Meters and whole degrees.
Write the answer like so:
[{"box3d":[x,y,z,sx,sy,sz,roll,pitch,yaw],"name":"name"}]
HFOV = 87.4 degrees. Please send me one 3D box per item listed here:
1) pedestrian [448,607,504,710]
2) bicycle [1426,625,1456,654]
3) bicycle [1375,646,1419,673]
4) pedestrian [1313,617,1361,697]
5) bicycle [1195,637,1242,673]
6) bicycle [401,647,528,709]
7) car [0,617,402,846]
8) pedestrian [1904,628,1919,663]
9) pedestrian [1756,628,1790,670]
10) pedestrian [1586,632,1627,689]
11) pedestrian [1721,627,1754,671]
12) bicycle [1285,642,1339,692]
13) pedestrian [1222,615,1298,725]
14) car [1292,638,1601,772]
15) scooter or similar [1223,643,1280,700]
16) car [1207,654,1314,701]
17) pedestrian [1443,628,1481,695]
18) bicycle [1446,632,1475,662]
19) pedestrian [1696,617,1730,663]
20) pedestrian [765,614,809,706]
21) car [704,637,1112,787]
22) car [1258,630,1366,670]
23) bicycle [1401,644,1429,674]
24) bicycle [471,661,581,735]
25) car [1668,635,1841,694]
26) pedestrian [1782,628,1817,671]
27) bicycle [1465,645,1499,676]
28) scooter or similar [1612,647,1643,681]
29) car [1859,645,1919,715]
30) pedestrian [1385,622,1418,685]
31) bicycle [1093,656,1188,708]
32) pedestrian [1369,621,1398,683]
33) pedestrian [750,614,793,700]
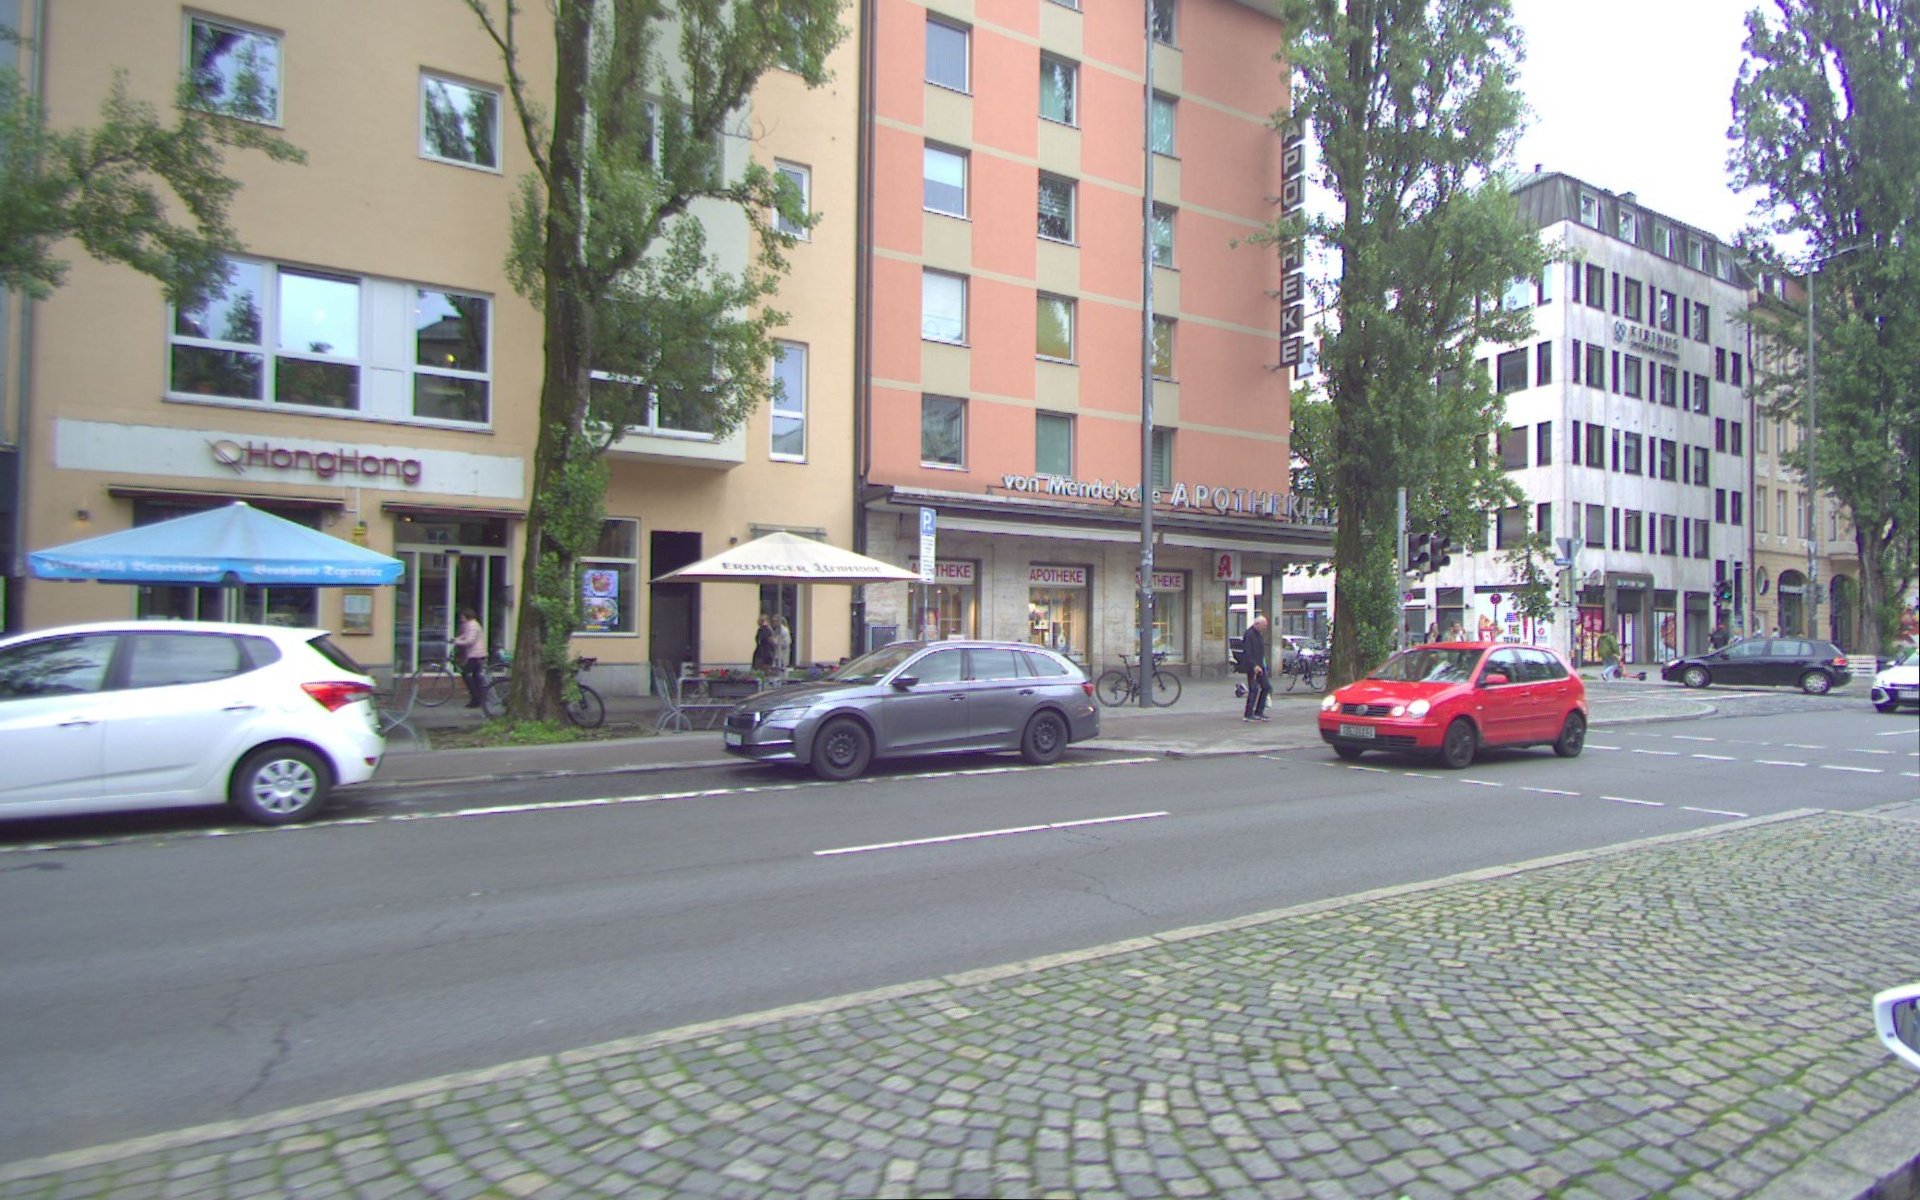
[{"box3d":[-8.274,0.984,17.162,0.793,1.690,0.776,1,-1,-31],"name":"pedestrian"},{"box3d":[19.969,1.627,41.692,2.048,1.199,0.411,2,-2,-43],"name":"bicycle"},{"box3d":[18.206,2.482,41.905,0.410,1.061,2.055,1,-1,-19],"name":"bicycle"},{"box3d":[8.674,1.303,23.094,0.768,1.794,0.721,1,-1,-29],"name":"pedestrian"},{"box3d":[9.480,1.994,36.874,0.530,1.200,2.052,2,0,-22],"name":"bicycle"},{"box3d":[-8.540,1.328,17.361,1.933,1.015,0.440,1,-1,-29],"name":"bicycle"},{"box3d":[-6.789,0.972,8.015,4.048,1.604,1.695,2,-3,-30],"name":"car"},{"box3d":[49.125,2.348,51.470,0.943,1.767,0.840,2,0,-29],"name":"pedestrian"},{"box3d":[31.406,1.877,38.803,0.978,1.588,0.747,1,-1,-31],"name":"pedestrian"},{"box3d":[20.646,1.927,32.089,0.931,1.763,0.723,2,0,-31],"name":"pedestrian"},{"box3d":[31.236,1.951,40.359,0.966,1.704,0.728,1,0,-30],"name":"pedestrian"},{"box3d":[8.408,1.588,23.990,1.357,1.156,0.419,2,-1,-30],"name":"bicycle"},{"box3d":[5.127,1.187,17.196,0.975,1.819,0.736,2,0,-12],"name":"pedestrian"},{"box3d":[6.168,1.223,12.671,3.779,1.456,1.728,2,-3,-31],"name":"car"},{"box3d":[6.371,1.543,21.934,1.389,1.189,0.404,1,-1,-35],"name":"scooter or similar"},{"box3d":[11.131,2.848,37.448,1.755,1.439,3.980,2,-1,-21],"name":"car"},{"box3d":[12.182,1.477,24.391,0.541,1.604,0.654,1,-1,-29],"name":"pedestrian"},{"box3d":[20.437,1.923,41.004,1.995,1.199,0.411,2,-2,-44],"name":"bicycle"},{"box3d":[30.810,1.627,41.099,0.901,1.811,0.796,1,0,-30],"name":"pedestrian"},{"box3d":[-3.343,1.149,19.388,0.684,1.740,0.552,1,-1,-31],"name":"pedestrian"},{"box3d":[-0.505,1.197,11.758,4.539,1.457,1.694,2,-3,-32],"name":"car"},{"box3d":[13.409,1.870,38.464,1.755,1.439,3.981,1,-2,-21],"name":"car"},{"box3d":[19.245,2.480,42.438,0.444,1.199,2.051,-1,-2,44],"name":"bicycle"},{"box3d":[-6.051,1.349,14.010,1.504,0.971,0.325,0,-1,14],"name":"bicycle"},{"box3d":[21.935,1.726,27.804,3.650,1.494,1.763,-1,-2,42],"name":"car"},{"box3d":[32.506,1.909,38.907,0.924,1.640,0.774,1,-1,-31],"name":"pedestrian"},{"box3d":[21.062,2.421,40.510,2.014,1.199,0.412,2,-2,-37],"name":"bicycle"},{"box3d":[22.838,2.173,34.370,0.271,1.107,0.808,2,0,-33],"name":"scooter or similar"},{"box3d":[21.437,1.682,21.620,4.579,1.426,1.814,2,-3,-31],"name":"car"},{"box3d":[12.246,1.489,27.874,0.513,1.711,0.627,2,0,-29],"name":"pedestrian"},{"box3d":[3.507,1.589,19.524,1.777,0.999,0.330,1,-1,-5],"name":"bicycle"},{"box3d":[12.008,1.469,28.486,0.508,1.713,0.584,1,-1,-30],"name":"pedestrian"},{"box3d":[-3.731,1.115,19.854,0.684,1.660,0.552,1,-1,-31],"name":"pedestrian"}]
